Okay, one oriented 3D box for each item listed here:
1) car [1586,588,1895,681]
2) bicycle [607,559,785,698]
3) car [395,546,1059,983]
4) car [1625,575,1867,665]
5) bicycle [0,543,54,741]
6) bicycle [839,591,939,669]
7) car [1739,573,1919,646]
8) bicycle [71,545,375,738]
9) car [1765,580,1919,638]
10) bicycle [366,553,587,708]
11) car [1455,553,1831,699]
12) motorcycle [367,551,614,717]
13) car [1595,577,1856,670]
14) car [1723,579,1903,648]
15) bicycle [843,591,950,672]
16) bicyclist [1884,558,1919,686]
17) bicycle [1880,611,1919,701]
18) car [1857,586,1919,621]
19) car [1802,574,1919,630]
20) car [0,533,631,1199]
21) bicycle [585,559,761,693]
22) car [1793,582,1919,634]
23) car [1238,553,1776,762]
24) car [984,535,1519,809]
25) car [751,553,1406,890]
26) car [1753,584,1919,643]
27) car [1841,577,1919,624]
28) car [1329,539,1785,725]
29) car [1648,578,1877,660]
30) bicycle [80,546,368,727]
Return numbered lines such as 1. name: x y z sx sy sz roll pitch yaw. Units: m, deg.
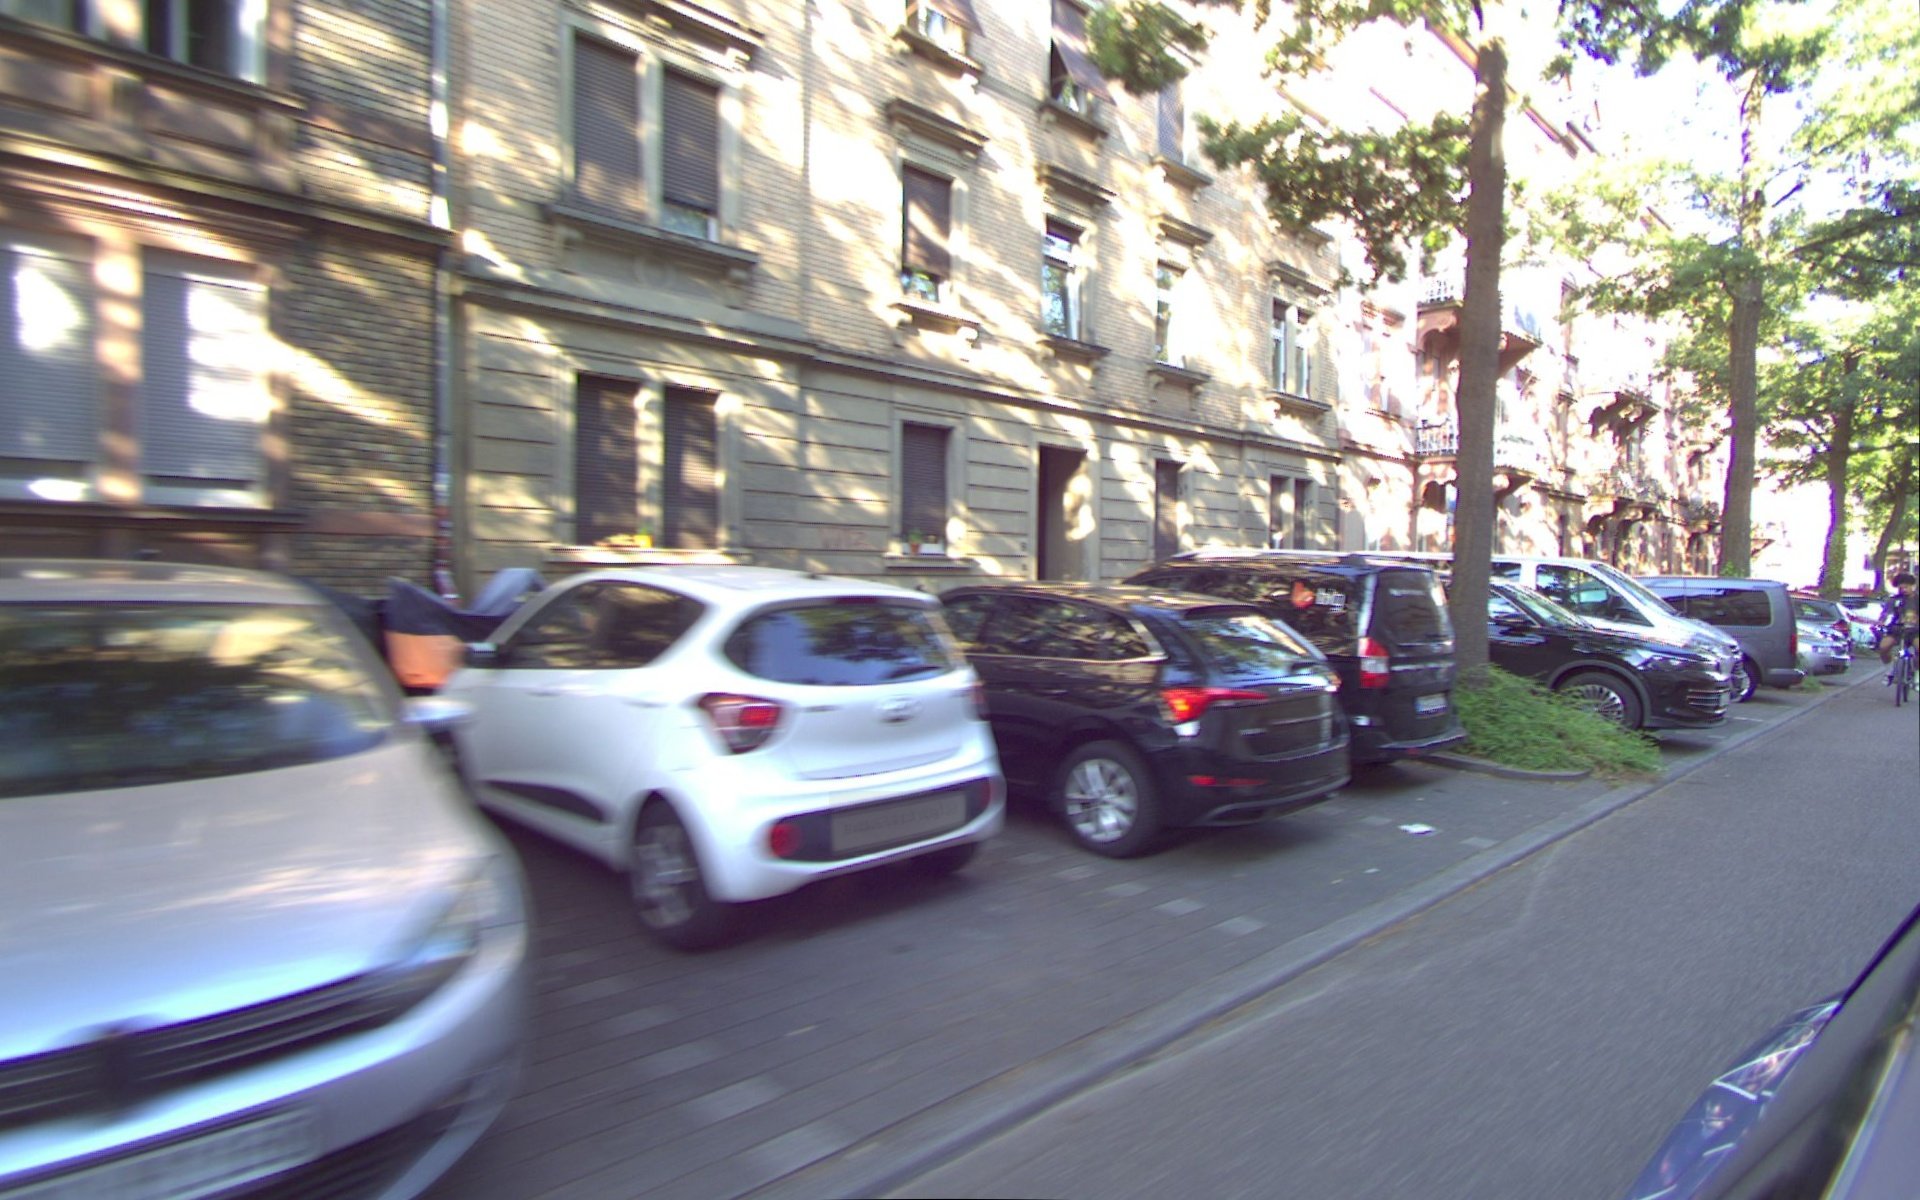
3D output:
1. car: 15.110 0.572 19.811 1.870 1.384 4.468 0 3 -41
2. bicycle: -2.706 0.267 10.552 1.853 1.335 0.368 0 1 -45
3. car: -1.536 0.516 5.507 3.989 1.513 1.660 2 1 45
4. car: 18.249 0.400 23.641 1.751 1.910 4.238 0 0 -41
5. bicycle: -7.105 0.278 6.533 1.853 1.335 0.534 0 1 -44
6. bicycle: -0.921 0.374 13.379 1.430 0.979 0.283 0 1 -42
7. car: 27.516 0.249 32.132 1.749 1.909 4.057 0 4 -41
8. bicycle: -5.583 0.279 7.773 1.853 1.335 0.375 0 1 -45
9. car: 32.508 0.289 37.307 1.750 1.640 4.057 0 6 -42
10. bicycle: -4.488 0.257 9.507 1.853 1.335 0.368 0 1 -45
11. car: 10.510 0.304 16.095 4.632 1.913 1.891 3 2 26
12. motorcycle: -4.145 0.260 9.030 1.853 1.335 0.763 0 1 -44
13. car: 16.396 0.428 21.821 1.872 1.623 4.235 0 3 -45
14. car: 25.681 0.354 30.569 1.708 1.702 3.844 0 4 -41
15. bicycle: -0.797 0.385 13.027 1.430 0.979 0.396 0 1 -42
16. bicyclist: 14.740 0.327 15.511 1.101 1.899 0.711 0 2 -43
17. bicycle: 14.683 0.833 15.497 1.856 1.275 0.711 0 2 -43
18. car: 48.920 0.258 51.918 1.750 1.548 4.057 0 6 -42
19. car: 39.798 0.083 43.871 1.892 2.000 4.699 0 6 -42
20. car: -2.695 0.579 3.250 1.658 1.474 3.993 0 1 -42
21. bicycle: -3.028 0.253 10.838 1.853 1.335 0.368 0 1 -45
22. car: 35.999 0.286 40.282 1.750 1.640 4.057 0 6 -42
23. car: 5.909 0.426 11.425 4.923 1.652 2.045 6 4 44
24. car: 2.306 0.419 8.874 1.911 1.810 4.133 0 1 -41
25. car: 0.523 0.497 6.882 1.904 1.473 4.150 0 3 -43
26. car: 29.247 0.398 33.778 1.749 1.599 4.057 0 4 -41
27. car: 45.241 0.074 48.609 1.750 1.956 4.057 0 6 -42
28. car: 7.919 0.250 13.808 4.923 1.924 2.141 6 4 44
29. car: 19.984 0.401 25.345 1.710 1.607 4.238 0 4 -44
30. bicycle: -5.899 0.260 8.212 1.853 1.335 0.368 0 1 -45
